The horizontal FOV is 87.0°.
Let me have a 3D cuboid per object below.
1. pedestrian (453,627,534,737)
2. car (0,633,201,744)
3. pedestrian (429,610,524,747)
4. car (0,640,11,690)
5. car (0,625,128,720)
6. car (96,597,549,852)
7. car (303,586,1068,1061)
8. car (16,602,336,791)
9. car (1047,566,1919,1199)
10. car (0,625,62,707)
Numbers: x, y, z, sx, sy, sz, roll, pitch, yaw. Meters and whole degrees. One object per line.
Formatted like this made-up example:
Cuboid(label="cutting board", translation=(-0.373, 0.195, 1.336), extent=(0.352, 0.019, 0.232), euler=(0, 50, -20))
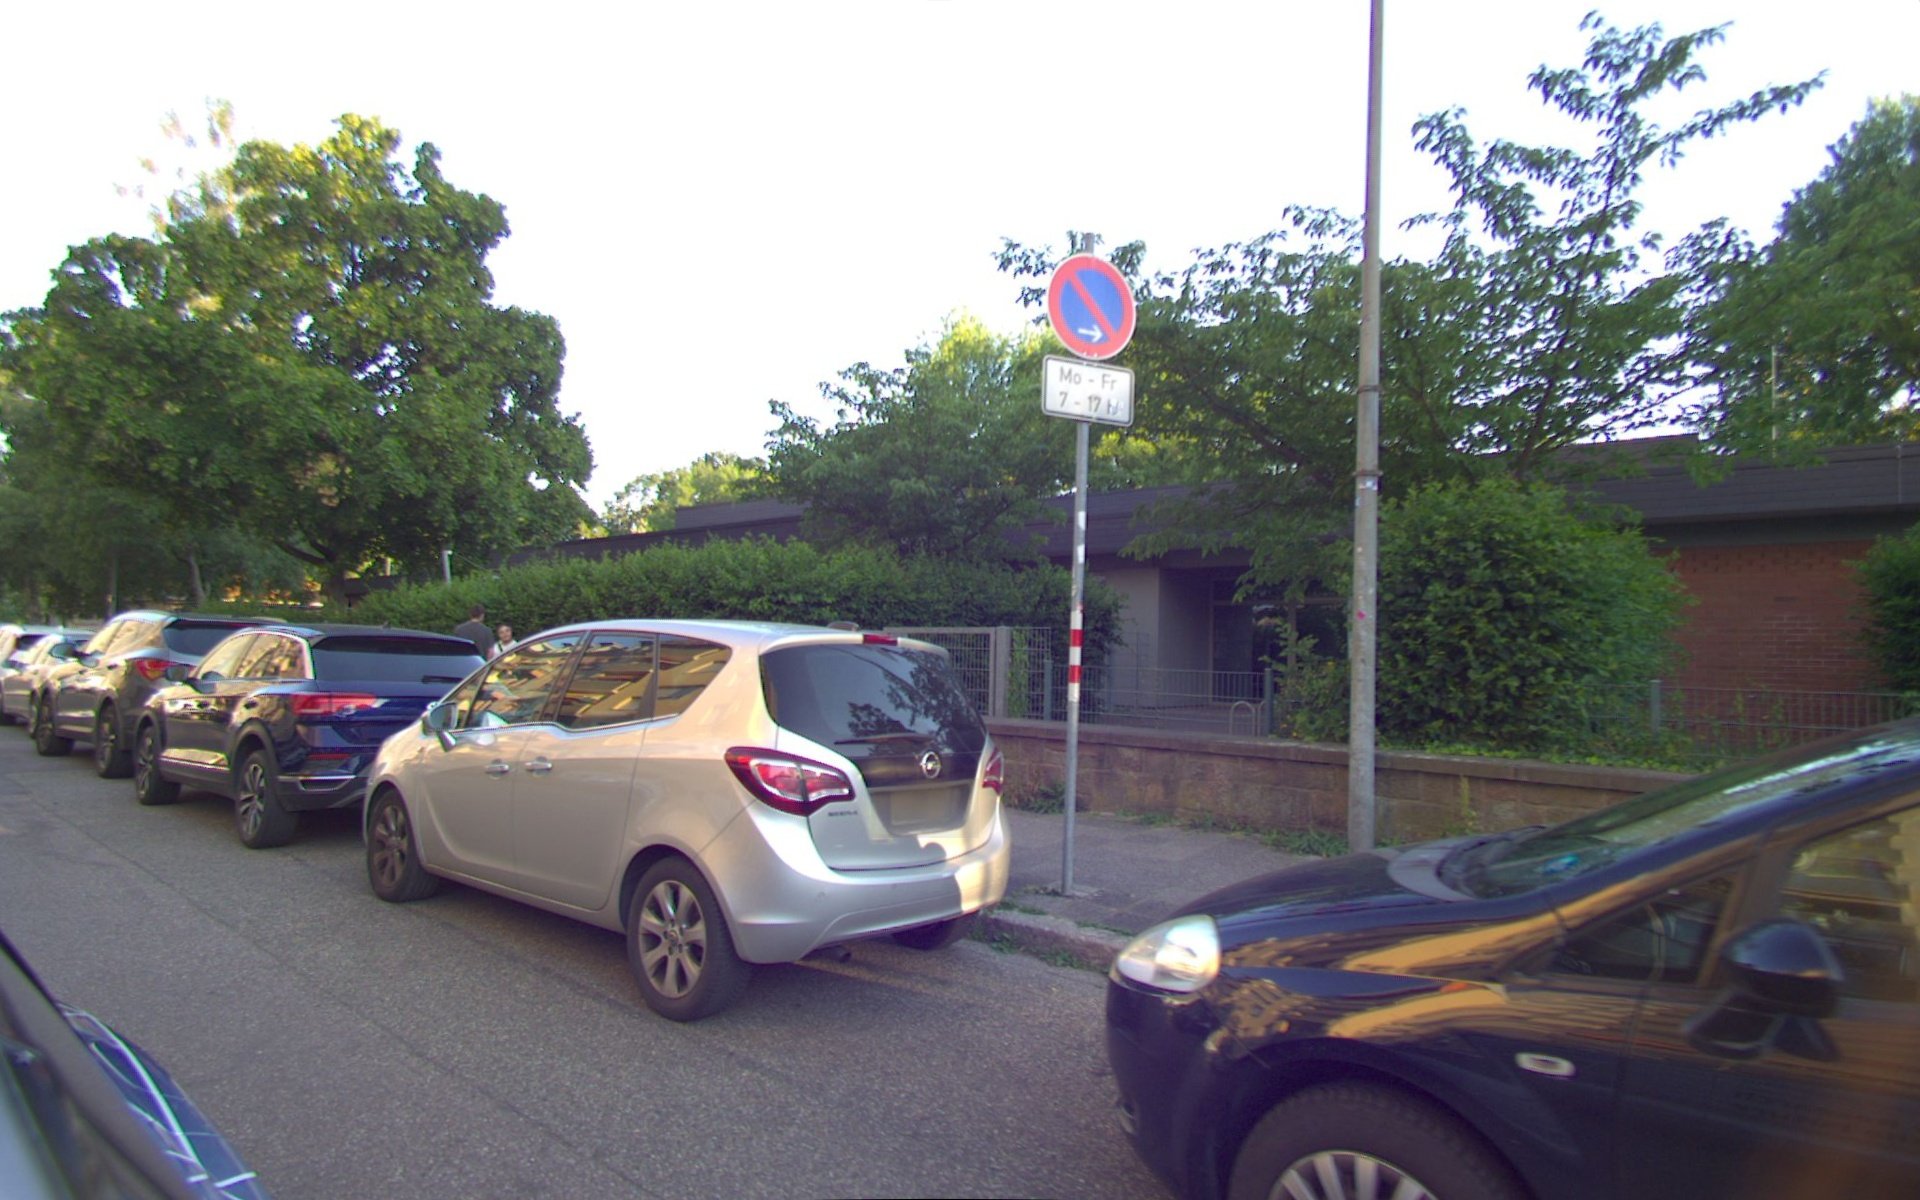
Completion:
Cuboid(label="pedestrian", translation=(-6.765, 1.160, 14.673), extent=(0.901, 1.519, 0.741), euler=(-2, -1, 38))
Cuboid(label="car", translation=(-13.152, 1.256, 15.133), extent=(4.280, 1.438, 1.717), euler=(-2, -5, 37))
Cuboid(label="pedestrian", translation=(-6.476, 1.016, 13.563), extent=(0.749, 1.745, 0.890), euler=(-2, -1, 39))
Cuboid(label="car", translation=(-29.037, 1.849, 29.448), extent=(3.413, 1.436, 1.603), euler=(-2, -5, 40))
Cuboid(label="car", translation=(-16.877, 1.284, 18.358), extent=(4.273, 1.555, 1.742), euler=(-2, -5, 37))
Cuboid(label="car", translation=(-5.321, 0.879, 8.264), extent=(4.161, 1.579, 1.717), euler=(-2, -5, 37))
Cuboid(label="car", translation=(-1.647, 0.852, 5.353), extent=(4.123, 1.579, 1.717), euler=(-2, -5, 37))
Cuboid(label="car", translation=(-8.911, 1.001, 11.385), extent=(4.316, 1.743, 1.717), euler=(-2, -5, 37))
Cuboid(label="car", translation=(2.177, 0.792, 1.807), extent=(3.691, 1.579, 1.717), euler=(-2, -5, 37))
Cuboid(label="car", translation=(-20.947, 1.397, 21.864), extent=(3.978, 1.644, 1.715), euler=(-2, -5, 41))
